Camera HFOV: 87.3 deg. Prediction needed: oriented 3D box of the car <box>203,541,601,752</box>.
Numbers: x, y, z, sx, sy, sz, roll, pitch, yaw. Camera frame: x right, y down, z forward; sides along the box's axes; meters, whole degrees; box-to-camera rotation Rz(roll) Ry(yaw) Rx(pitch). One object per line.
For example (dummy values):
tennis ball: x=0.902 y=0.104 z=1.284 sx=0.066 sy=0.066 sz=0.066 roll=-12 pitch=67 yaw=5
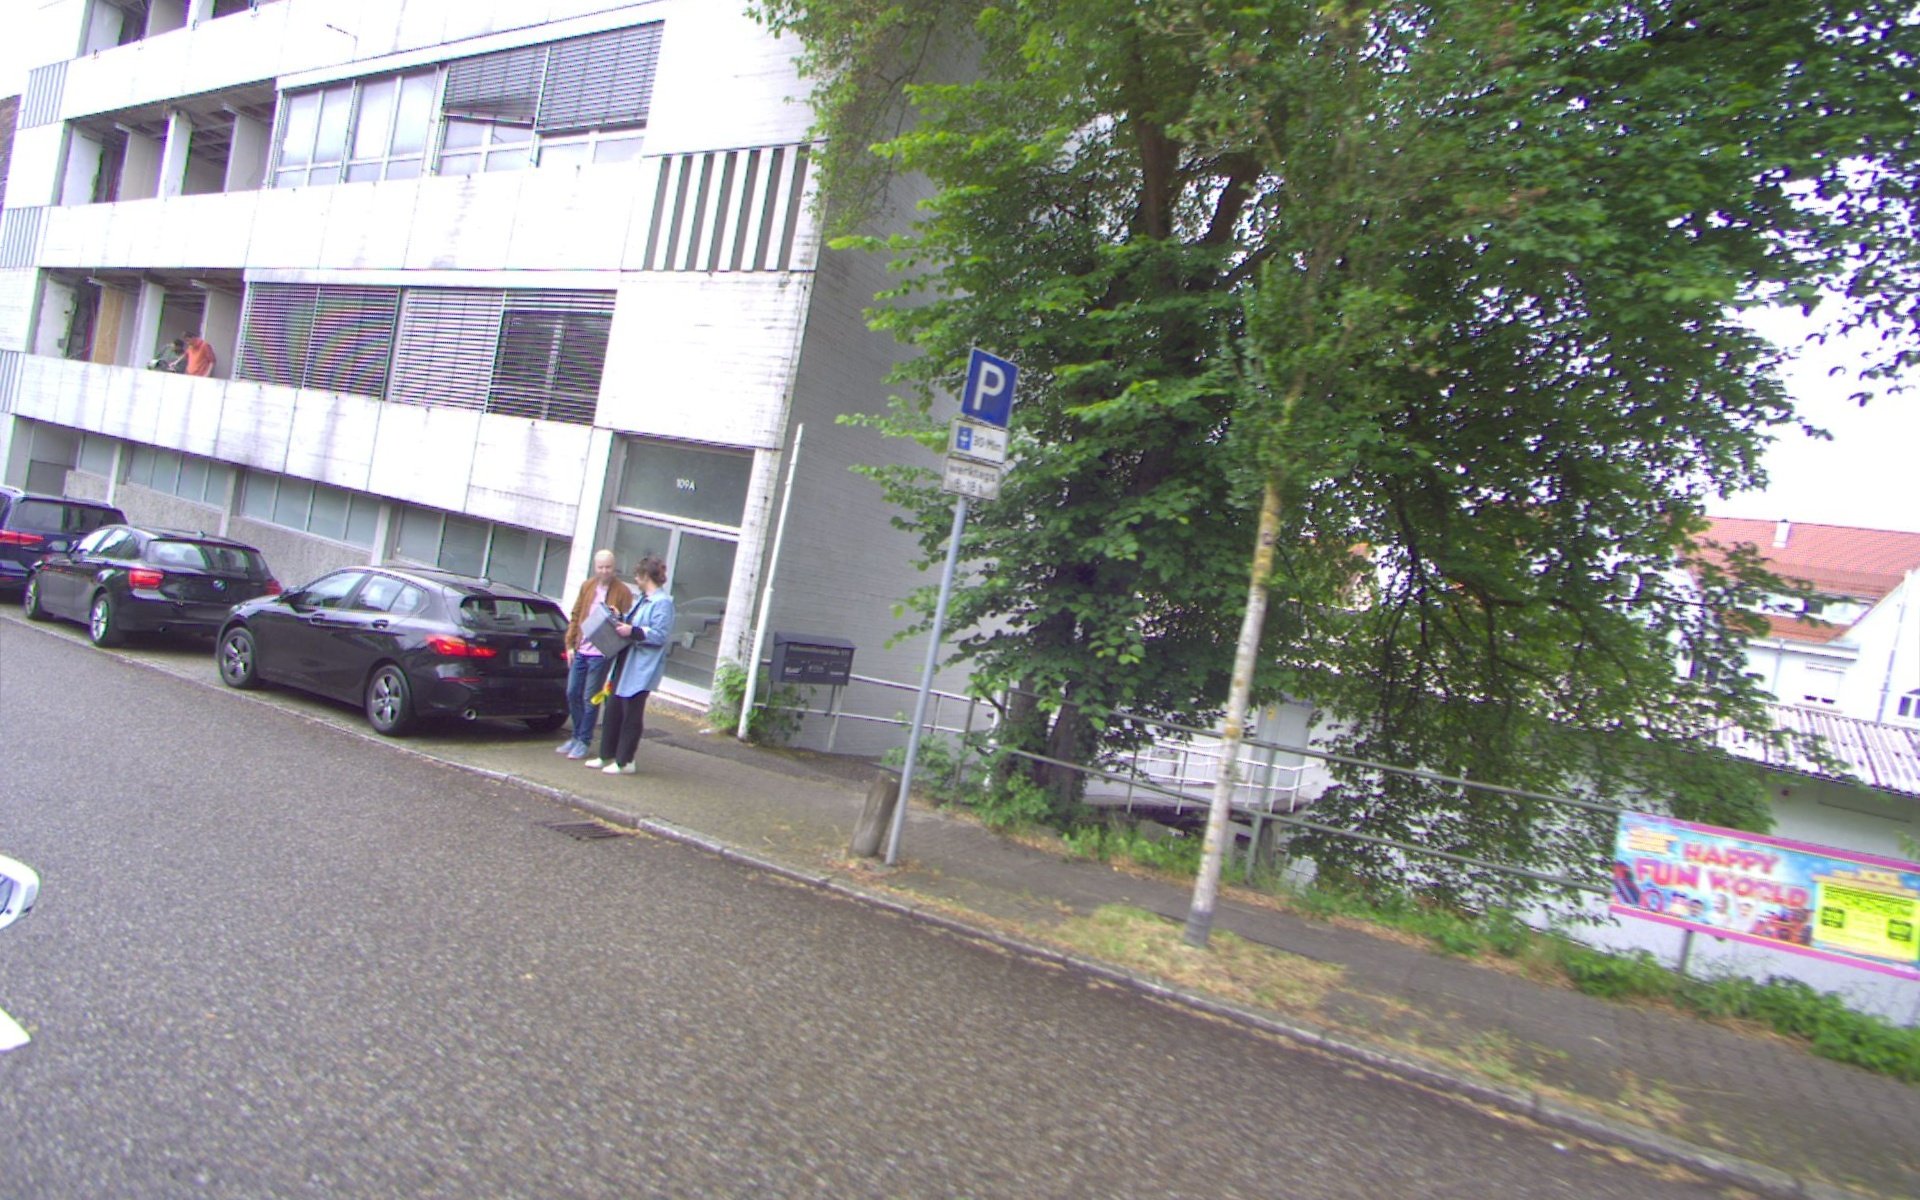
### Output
car: x=-5.546 y=0.385 z=9.880 sx=3.932 sy=1.452 sz=1.506 roll=7 pitch=0 yaw=30

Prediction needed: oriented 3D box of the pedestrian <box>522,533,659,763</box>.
pedestrian: x=-3.229 y=0.406 z=8.811 sx=0.676 sy=1.860 sz=0.665 roll=8 pitch=2 yaw=24

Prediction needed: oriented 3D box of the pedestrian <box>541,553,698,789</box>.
pedestrian: x=-2.759 y=0.559 z=8.170 sx=0.753 sy=1.746 sz=0.735 roll=9 pitch=2 yaw=34

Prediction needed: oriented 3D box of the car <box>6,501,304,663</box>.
car: x=-10.322 y=-0.250 z=12.837 sx=3.934 sy=1.482 sz=1.683 roll=8 pitch=0 yaw=32

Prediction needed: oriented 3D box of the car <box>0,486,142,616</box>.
car: x=-14.253 y=-0.852 z=15.187 sx=3.934 sy=1.590 sz=1.688 roll=8 pitch=0 yaw=32
